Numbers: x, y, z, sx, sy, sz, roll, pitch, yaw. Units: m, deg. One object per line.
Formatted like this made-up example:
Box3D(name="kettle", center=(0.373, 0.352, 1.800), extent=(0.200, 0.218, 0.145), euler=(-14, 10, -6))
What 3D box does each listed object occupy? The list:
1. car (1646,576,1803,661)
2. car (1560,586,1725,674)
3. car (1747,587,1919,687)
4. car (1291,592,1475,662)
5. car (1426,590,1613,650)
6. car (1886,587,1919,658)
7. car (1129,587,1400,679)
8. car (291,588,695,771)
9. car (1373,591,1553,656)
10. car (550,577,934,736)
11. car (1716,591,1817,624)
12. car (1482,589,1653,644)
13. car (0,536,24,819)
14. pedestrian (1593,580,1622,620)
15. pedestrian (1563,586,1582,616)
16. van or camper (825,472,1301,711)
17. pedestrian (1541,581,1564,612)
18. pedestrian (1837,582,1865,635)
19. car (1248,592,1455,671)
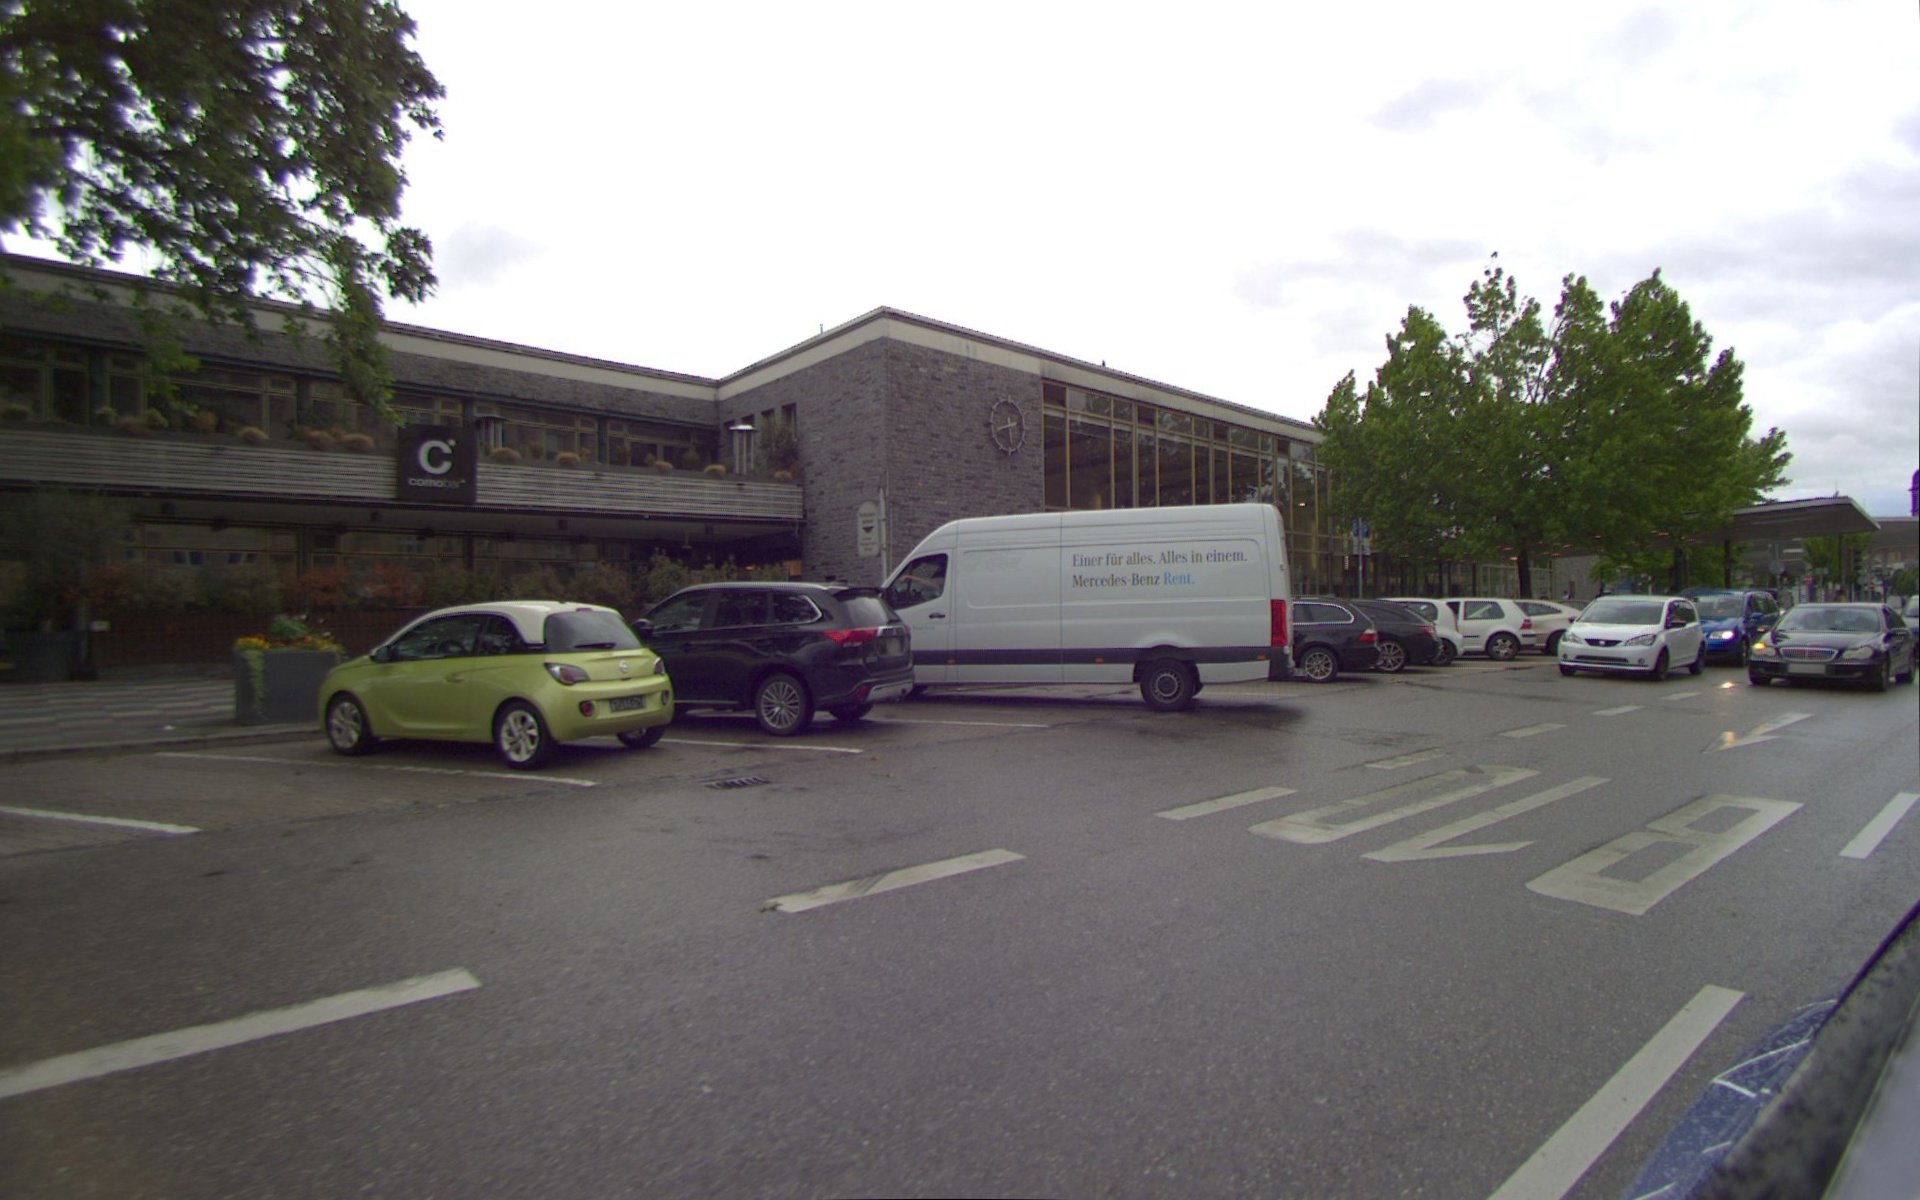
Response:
Box3D(name="car", center=(16.991, 0.344, 22.423), extent=(4.337, 1.704, 1.823), euler=(0, 1, -39))
Box3D(name="car", center=(12.750, 0.485, 18.839), extent=(3.525, 1.493, 1.660), euler=(0, 1, -40))
Box3D(name="car", center=(14.992, 0.538, 17.123), extent=(3.757, 1.493, 1.871), euler=(0, 1, -39))
Box3D(name="car", center=(9.140, 0.543, 22.150), extent=(3.575, 1.417, 1.768), euler=(0, 0, 20))
Box3D(name="car", center=(13.963, 0.457, 25.504), extent=(3.882, 1.417, 1.768), euler=(0, 0, 20))
Box3D(name="car", center=(22.012, 0.468, 22.289), extent=(3.757, 1.493, 1.871), euler=(0, 1, -39))
Box3D(name="car", center=(5.384, 0.516, 18.127), extent=(4.413, 1.490, 1.908), euler=(0, 0, 19))
Box3D(name="car", center=(-4.626, 0.655, 10.062), extent=(3.550, 1.543, 1.749), euler=(0, 0, 23))
Box3D(name="car", center=(11.654, 0.495, 23.714), extent=(3.575, 1.417, 1.768), euler=(0, 0, 20))
Box3D(name="car", center=(-2.591, 0.569, 12.160), extent=(4.184, 1.655, 1.872), euler=(0, 0, 20))
Box3D(name="car", center=(38.527, 0.315, 48.473), extent=(1.789, 1.509, 4.153), euler=(0, 1, 6))
Box3D(name="car", center=(16.604, 0.422, 27.897), extent=(3.894, 1.417, 1.762), euler=(0, 0, 28))
Box3D(name="car", center=(-8.895, 0.514, 6.675), extent=(4.639, 1.898, 2.096), euler=(0, 0, 19))
Box3D(name="pedestrian", center=(29.107, 0.000, 45.487), extent=(0.896, 1.780, 0.824), euler=(0, 0, -37))
Box3D(name="pedestrian", center=(34.837, 0.058, 57.555), extent=(0.838, 1.669, 0.761), euler=(0, 0, -42))
Box3D(name="van or camper", center=(1.461, -0.132, 14.461), extent=(6.446, 2.905, 2.266), euler=(0, 0, 19))
Box3D(name="pedestrian", center=(29.653, -0.167, 50.623), extent=(0.838, 1.530, 0.761), euler=(0, 0, -42))
Box3D(name="pedestrian", center=(30.365, 0.269, 34.495), extent=(0.686, 1.773, 0.561), euler=(0, 1, -37))
Box3D(name="car", center=(7.639, 0.566, 19.993), extent=(3.643, 1.417, 1.768), euler=(0, 0, 20))
